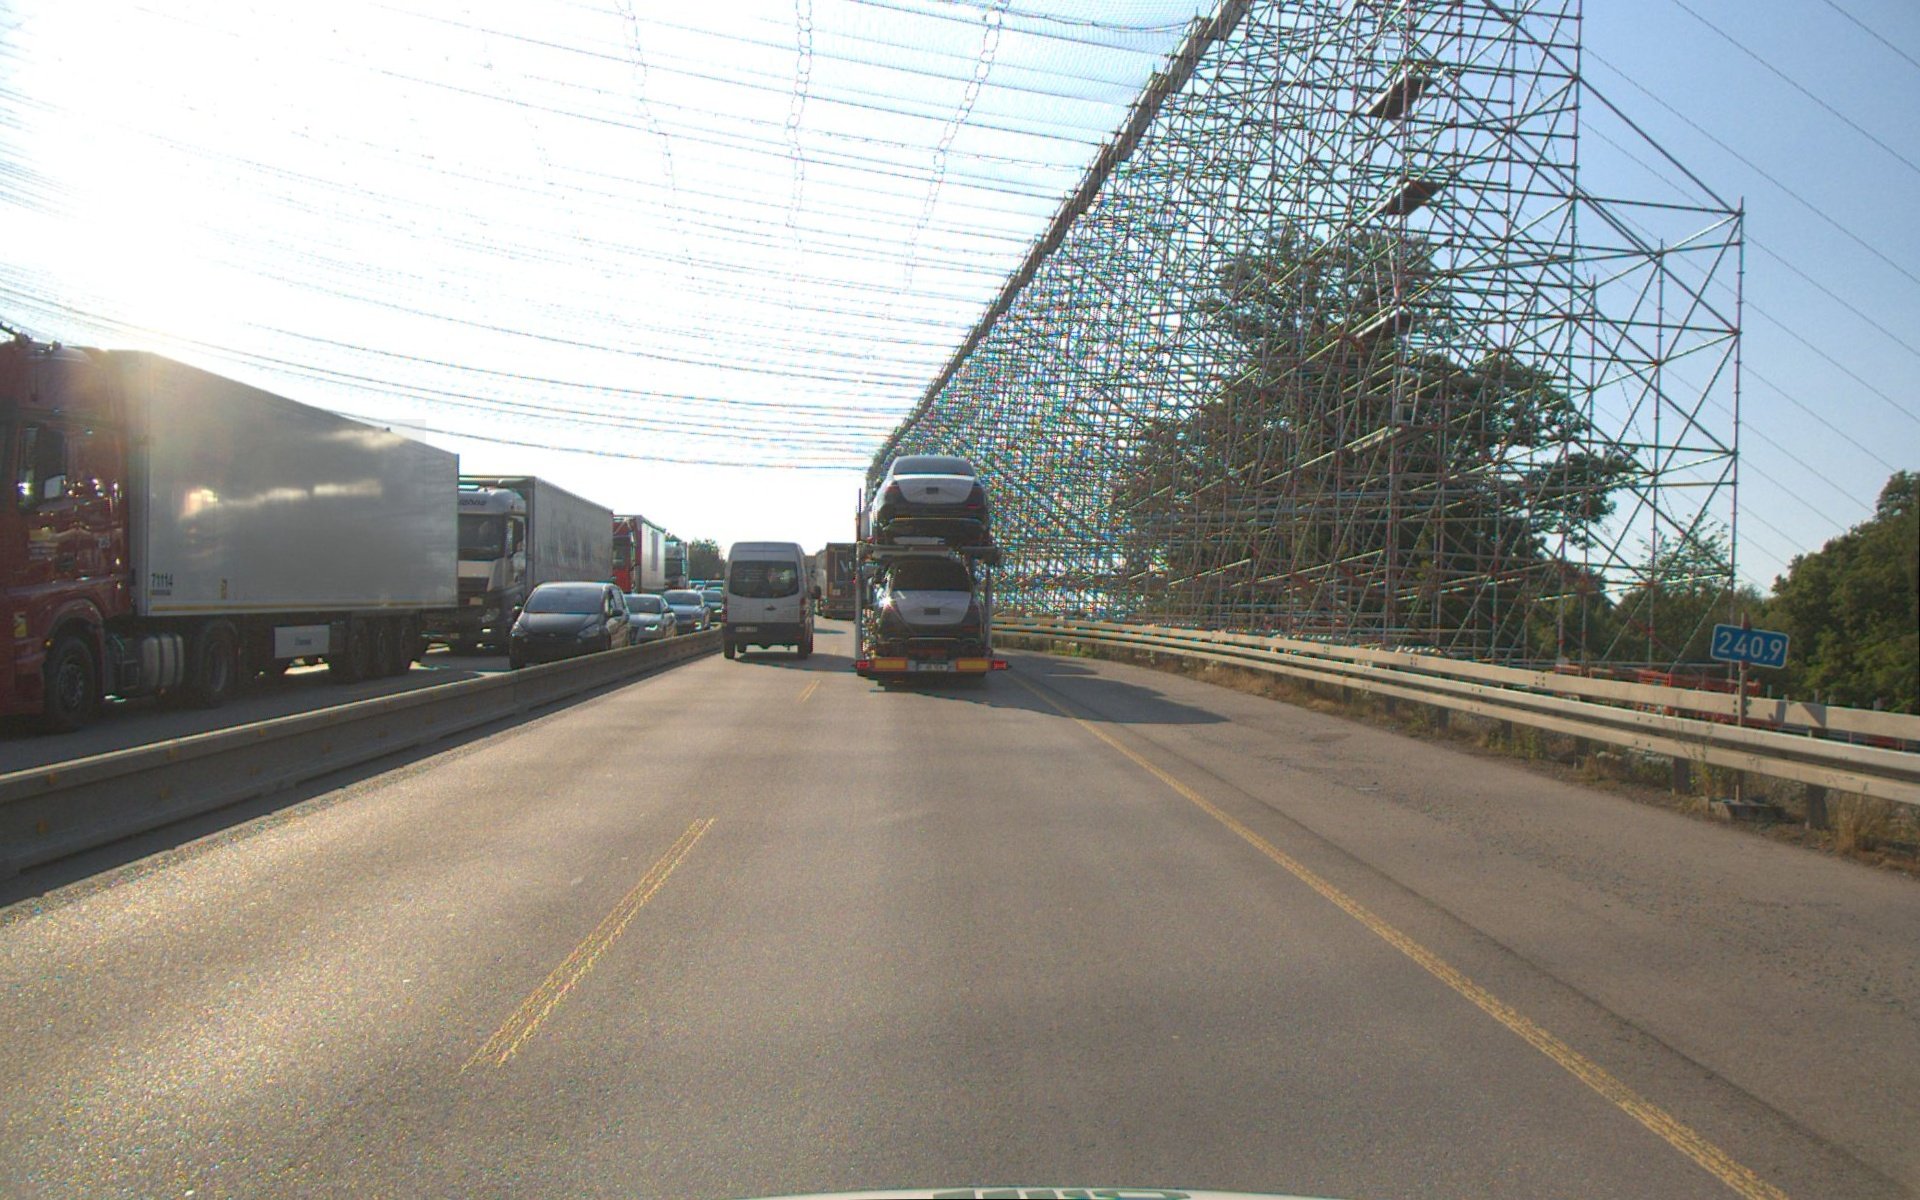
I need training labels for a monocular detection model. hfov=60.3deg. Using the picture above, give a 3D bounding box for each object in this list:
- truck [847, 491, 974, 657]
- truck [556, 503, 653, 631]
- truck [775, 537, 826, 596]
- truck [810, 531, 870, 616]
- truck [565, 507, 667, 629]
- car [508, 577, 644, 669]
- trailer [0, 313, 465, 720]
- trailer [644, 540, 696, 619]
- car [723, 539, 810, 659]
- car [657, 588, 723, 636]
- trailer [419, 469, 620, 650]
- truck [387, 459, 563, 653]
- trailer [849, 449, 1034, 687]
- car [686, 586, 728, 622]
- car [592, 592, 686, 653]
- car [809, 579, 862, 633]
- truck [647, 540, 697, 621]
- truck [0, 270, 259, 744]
[{"bbox_3d":[-1.375,-0.596,41.561,2.825,3.767,7.318,1,0,-4],"label":"truck"},{"bbox_3d":[-12.410,-1.099,58.261,2.734,4.214,6.668,1,0,-7],"label":"truck"},{"bbox_3d":[-12.863,-2.617,132.068,3.617,4.294,13.648,-2,1,-7],"label":"truck"},{"bbox_3d":[-6.905,-1.467,93.670,2.680,4.462,11.502,2,0,-7],"label":"truck"},{"bbox_3d":[-13.231,-1.115,64.664,2.734,4.214,13.785,1,0,-7],"label":"truck"},{"bbox_3d":[-7.472,0.405,32.626,1.717,1.686,4.860,0,0,-2],"label":"car"},{"bbox_3d":[-10.540,-0.907,24.865,2.711,4.409,13.872,1,0,-3],"label":"trailer"},{"bbox_3d":[-17.145,-1.195,98.374,2.604,4.307,13.891,2,0,-9],"label":"trailer"},{"bbox_3d":[-4.536,-0.022,38.855,1.919,2.666,3.994,0,0,-6],"label":"car"},{"bbox_3d":[-9.178,0.378,56.528,1.698,1.464,4.834,3,0,-4],"label":"car"},{"bbox_3d":[-11.773,-0.951,45.790,2.744,4.213,13.954,1,0,-4],"label":"trailer"},{"bbox_3d":[-11.286,-0.952,39.048,2.732,4.214,5.928,1,0,-4],"label":"truck"},{"bbox_3d":[-0.792,-0.506,33.977,2.812,3.790,14.933,1,0,-4],"label":"trailer"},{"bbox_3d":[-10.918,0.146,71.661,1.619,1.489,4.393,2,0,-7],"label":"car"},{"bbox_3d":[-8.141,0.534,42.303,1.697,1.401,4.887,2,0,-4],"label":"car"},{"bbox_3d":[-4.906,0.233,65.602,1.954,2.049,3.998,1,0,-3],"label":"car"},{"bbox_3d":[-15.940,-1.052,91.786,2.614,4.304,6.091,1,0,-10],"label":"truck"},{"bbox_3d":[-10.174,-0.870,18.126,2.690,4.375,5.930,1,0,-3],"label":"truck"}]
